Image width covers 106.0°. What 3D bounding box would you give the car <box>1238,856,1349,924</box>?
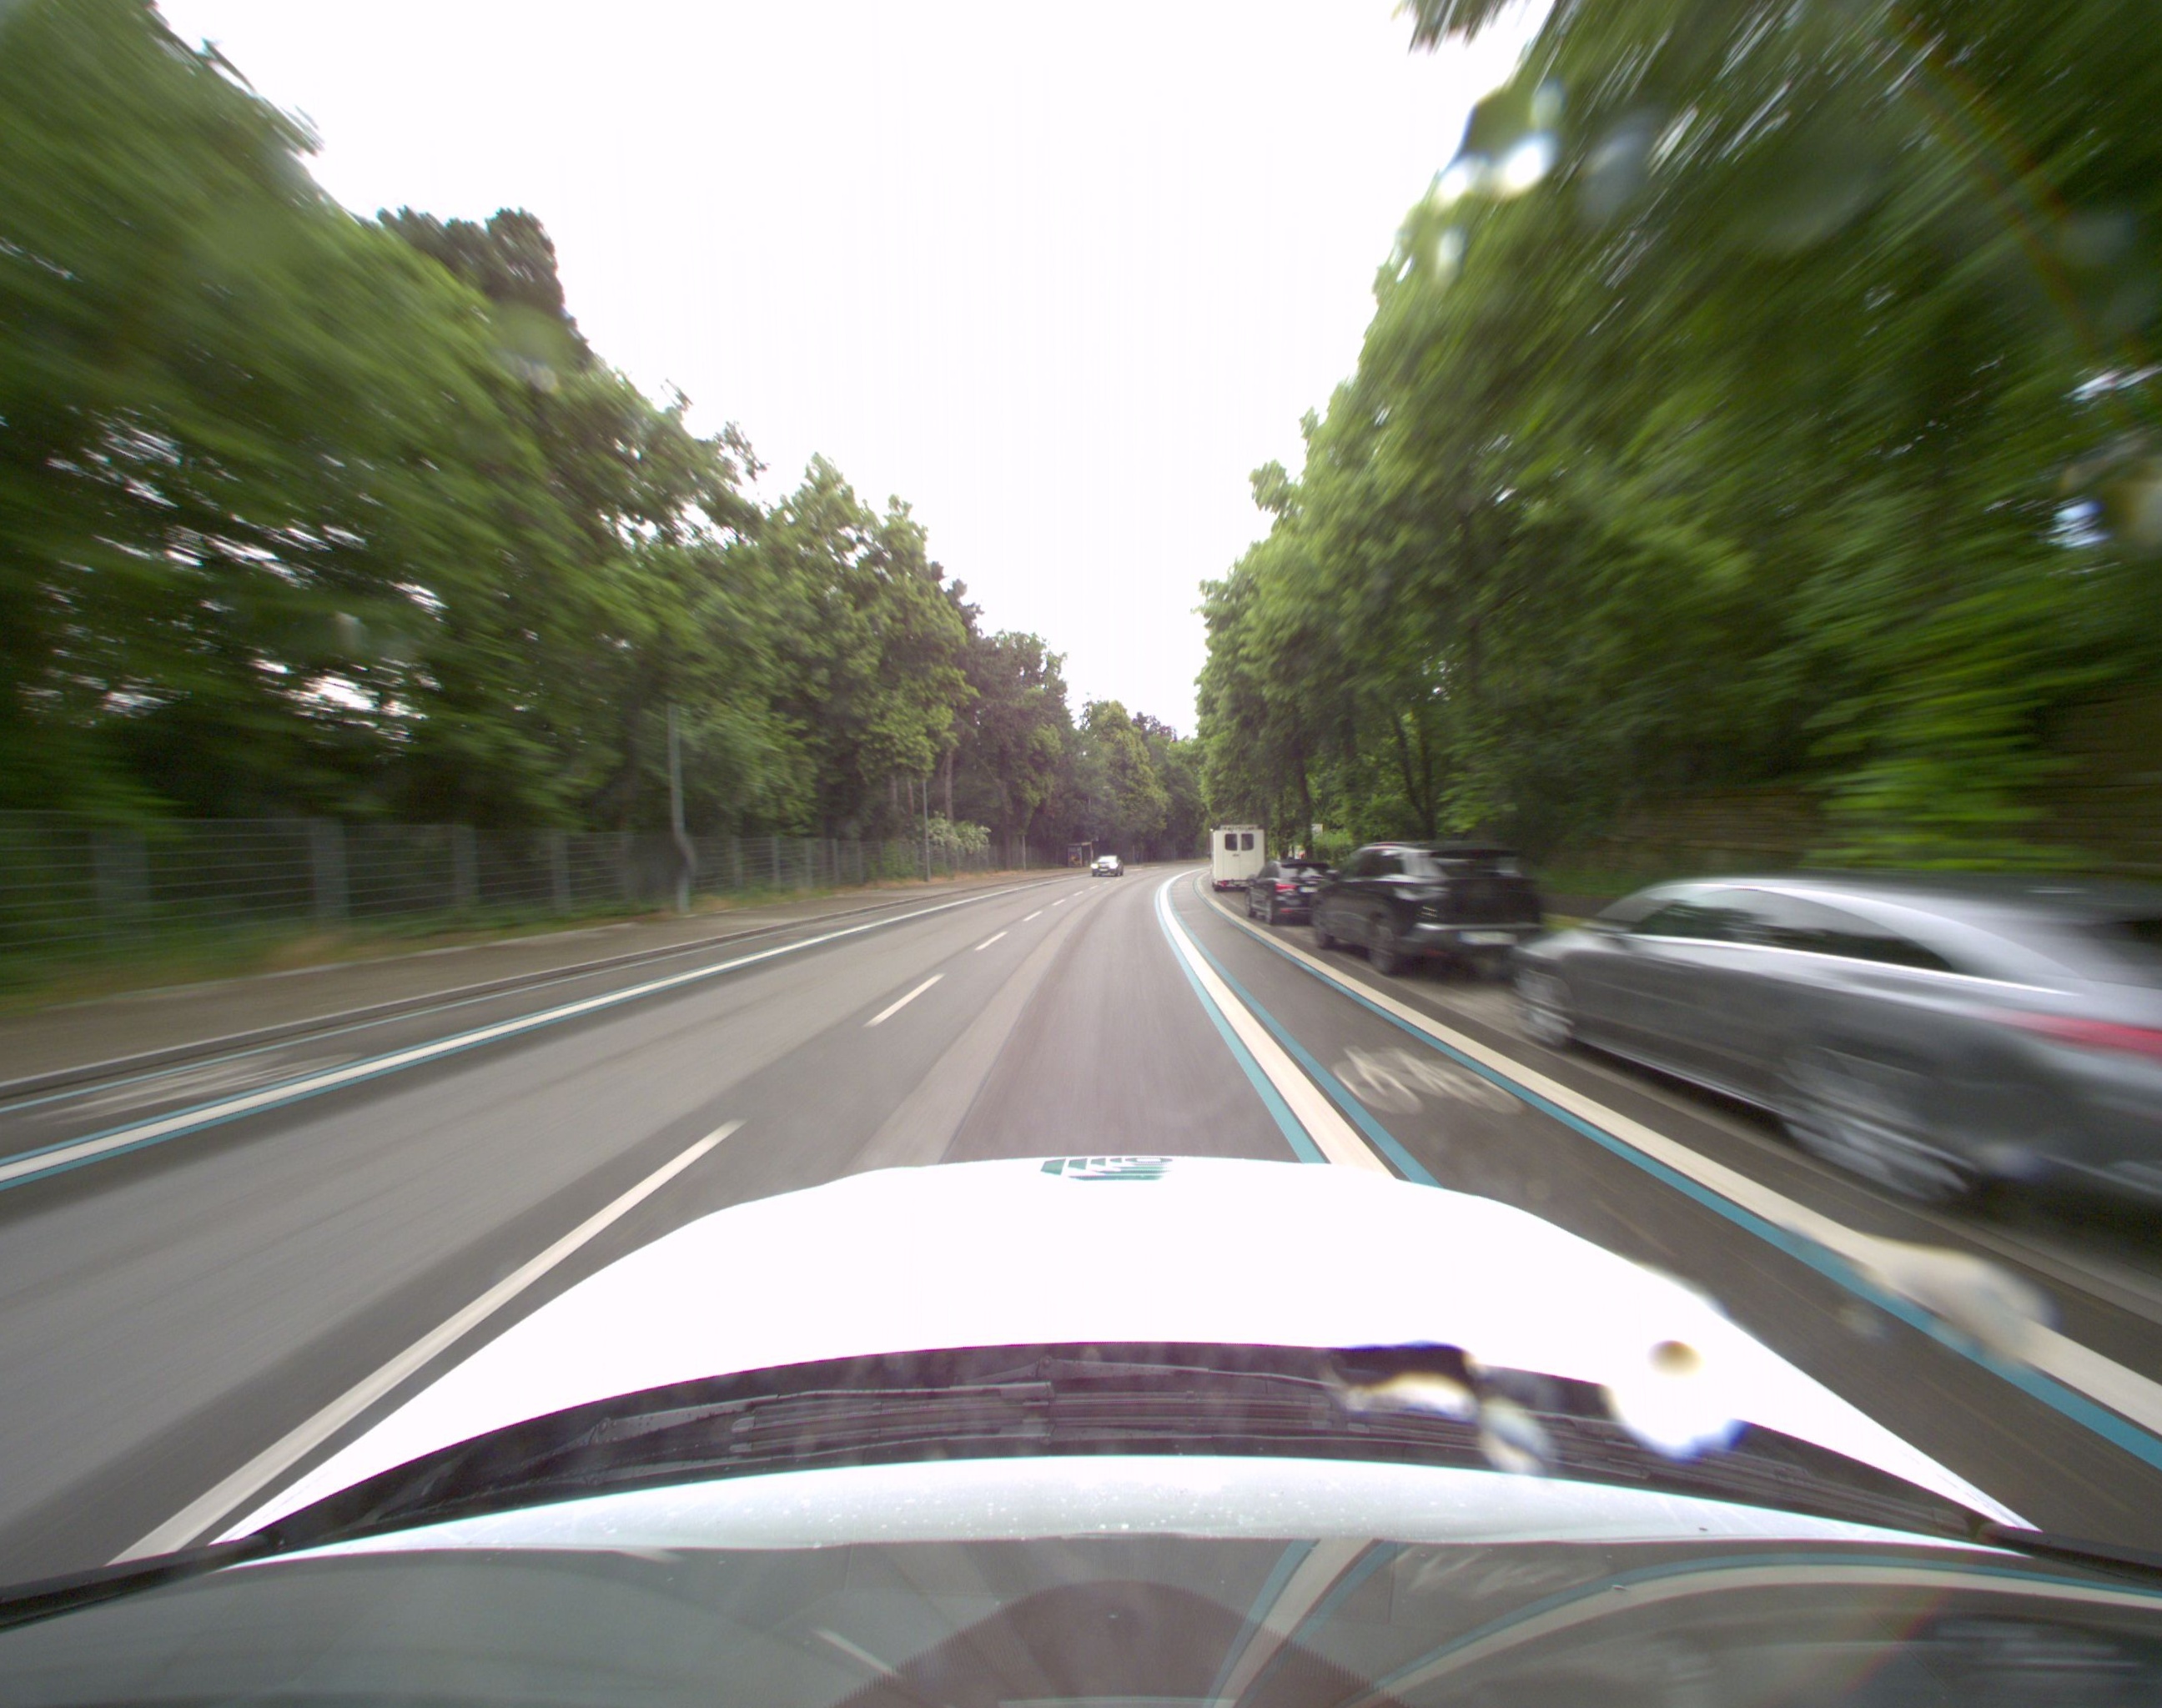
[{"bbox_3d":[4.737,0.765,18.697,1.671,1.376,4.003,-1,-1,3],"label":"car"}]

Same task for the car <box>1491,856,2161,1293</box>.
[{"bbox_3d":[4.305,0.698,4.750,1.767,1.348,4.469,-1,0,3],"label":"car"}]

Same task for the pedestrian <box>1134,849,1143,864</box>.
[{"bbox_3d":[7.137,0.307,100.976,0.881,1.733,1.150,-1,0,11],"label":"pedestrian"}]

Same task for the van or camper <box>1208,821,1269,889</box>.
[{"bbox_3d":[6.768,0.035,35.681,2.303,2.664,6.397,-1,0,8],"label":"van or camper"}]

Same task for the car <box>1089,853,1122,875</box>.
[{"bbox_3d":[1.796,0.667,57.567,1.749,1.437,4.162,-1,0,9],"label":"car"}]

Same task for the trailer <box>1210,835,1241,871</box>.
[{"bbox_3d":[11.458,-0.077,64.423,2.301,2.672,5.393,-1,0,11],"label":"trailer"}]

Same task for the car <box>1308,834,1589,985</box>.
[{"bbox_3d":[4.722,0.659,11.310,1.986,1.645,4.348,-1,-1,1],"label":"car"}]
